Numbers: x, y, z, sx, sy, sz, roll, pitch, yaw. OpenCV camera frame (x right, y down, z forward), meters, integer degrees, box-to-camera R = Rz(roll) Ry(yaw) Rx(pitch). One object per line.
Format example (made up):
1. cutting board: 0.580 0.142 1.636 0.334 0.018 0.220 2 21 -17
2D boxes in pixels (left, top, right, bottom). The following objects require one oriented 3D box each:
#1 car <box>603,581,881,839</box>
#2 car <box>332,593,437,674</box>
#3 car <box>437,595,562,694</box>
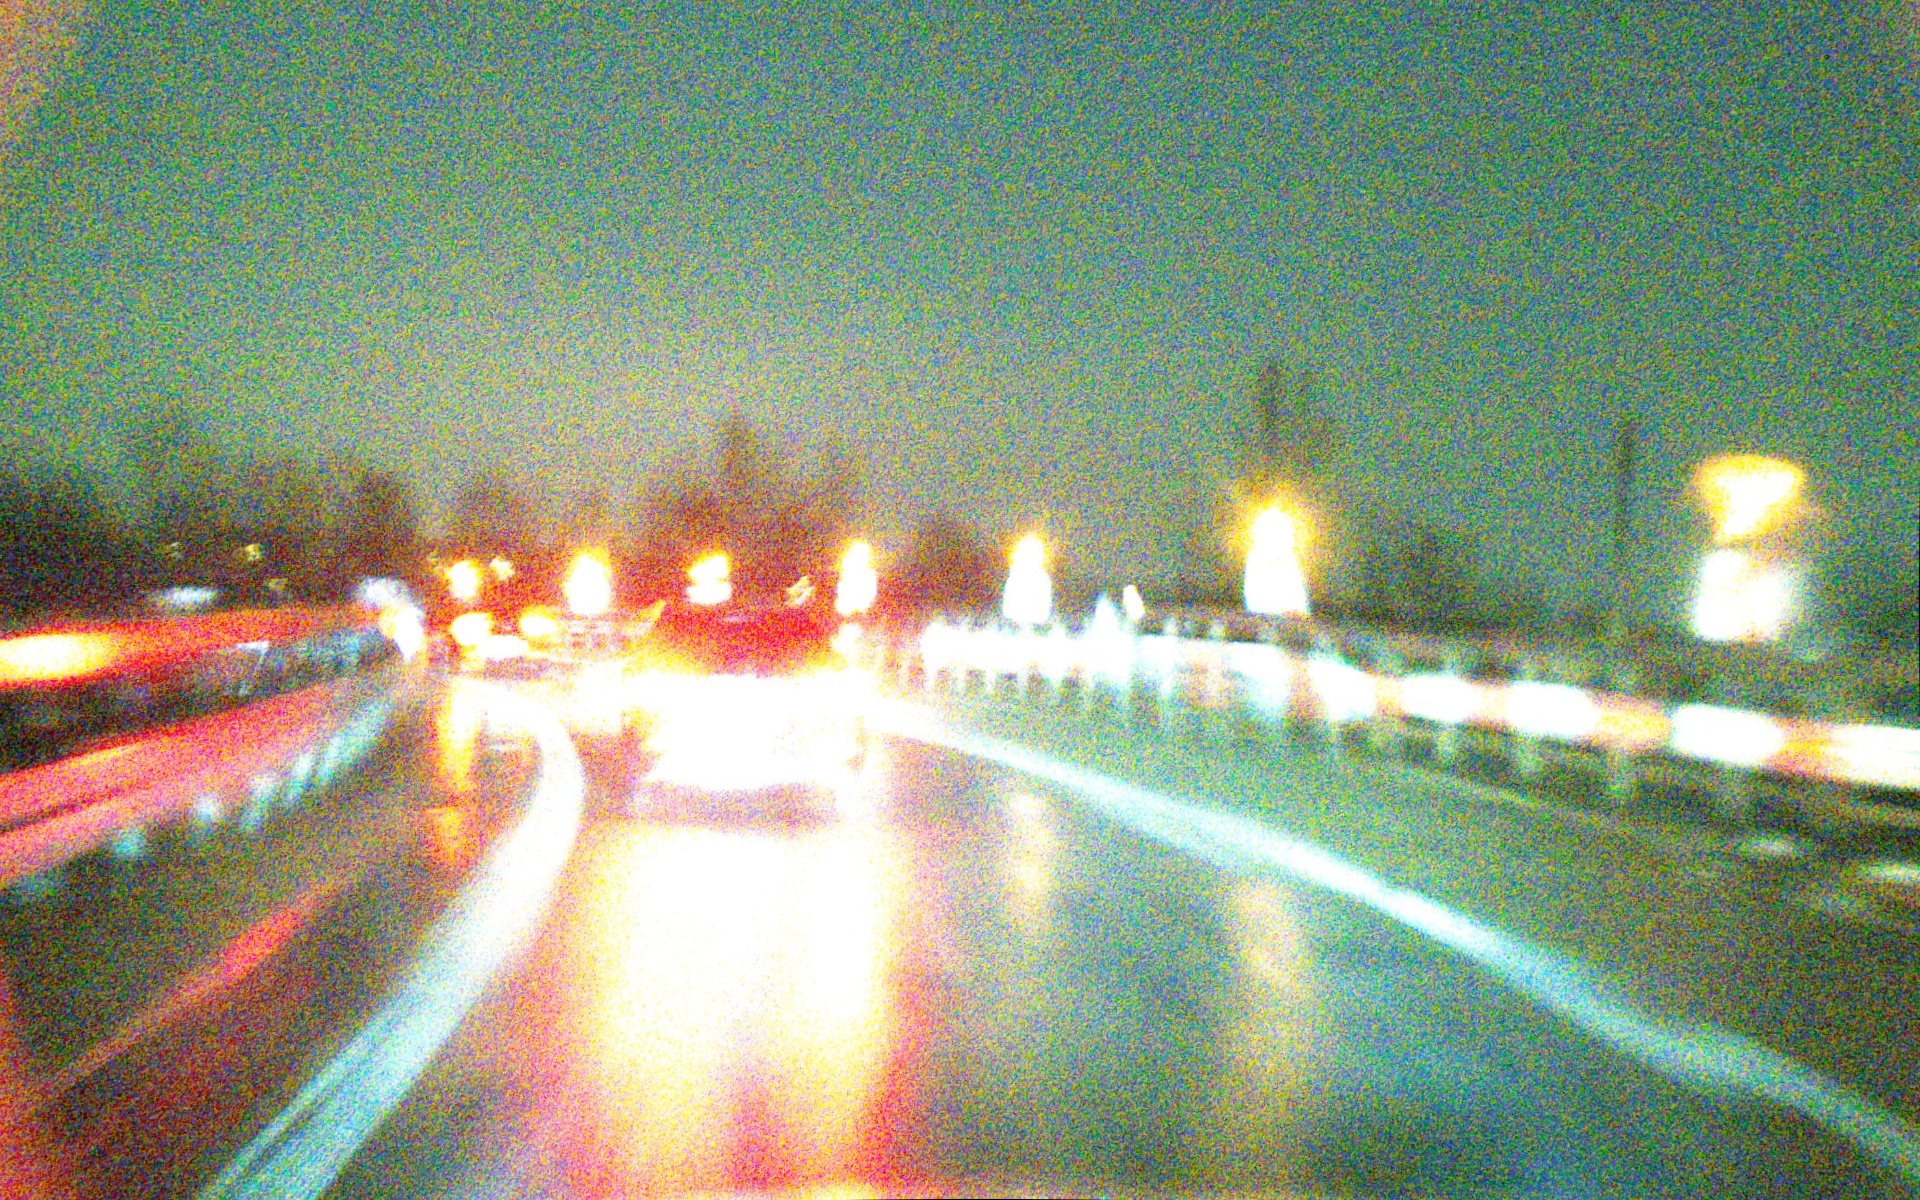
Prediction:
1. car: -1.820 0.717 13.024 1.827 1.676 4.058 -1 0 -11
2. car: -15.610 0.875 44.758 1.876 2.076 4.002 1 -1 -31
3. car: -8.955 0.809 31.970 1.869 1.750 4.019 1 0 -22
